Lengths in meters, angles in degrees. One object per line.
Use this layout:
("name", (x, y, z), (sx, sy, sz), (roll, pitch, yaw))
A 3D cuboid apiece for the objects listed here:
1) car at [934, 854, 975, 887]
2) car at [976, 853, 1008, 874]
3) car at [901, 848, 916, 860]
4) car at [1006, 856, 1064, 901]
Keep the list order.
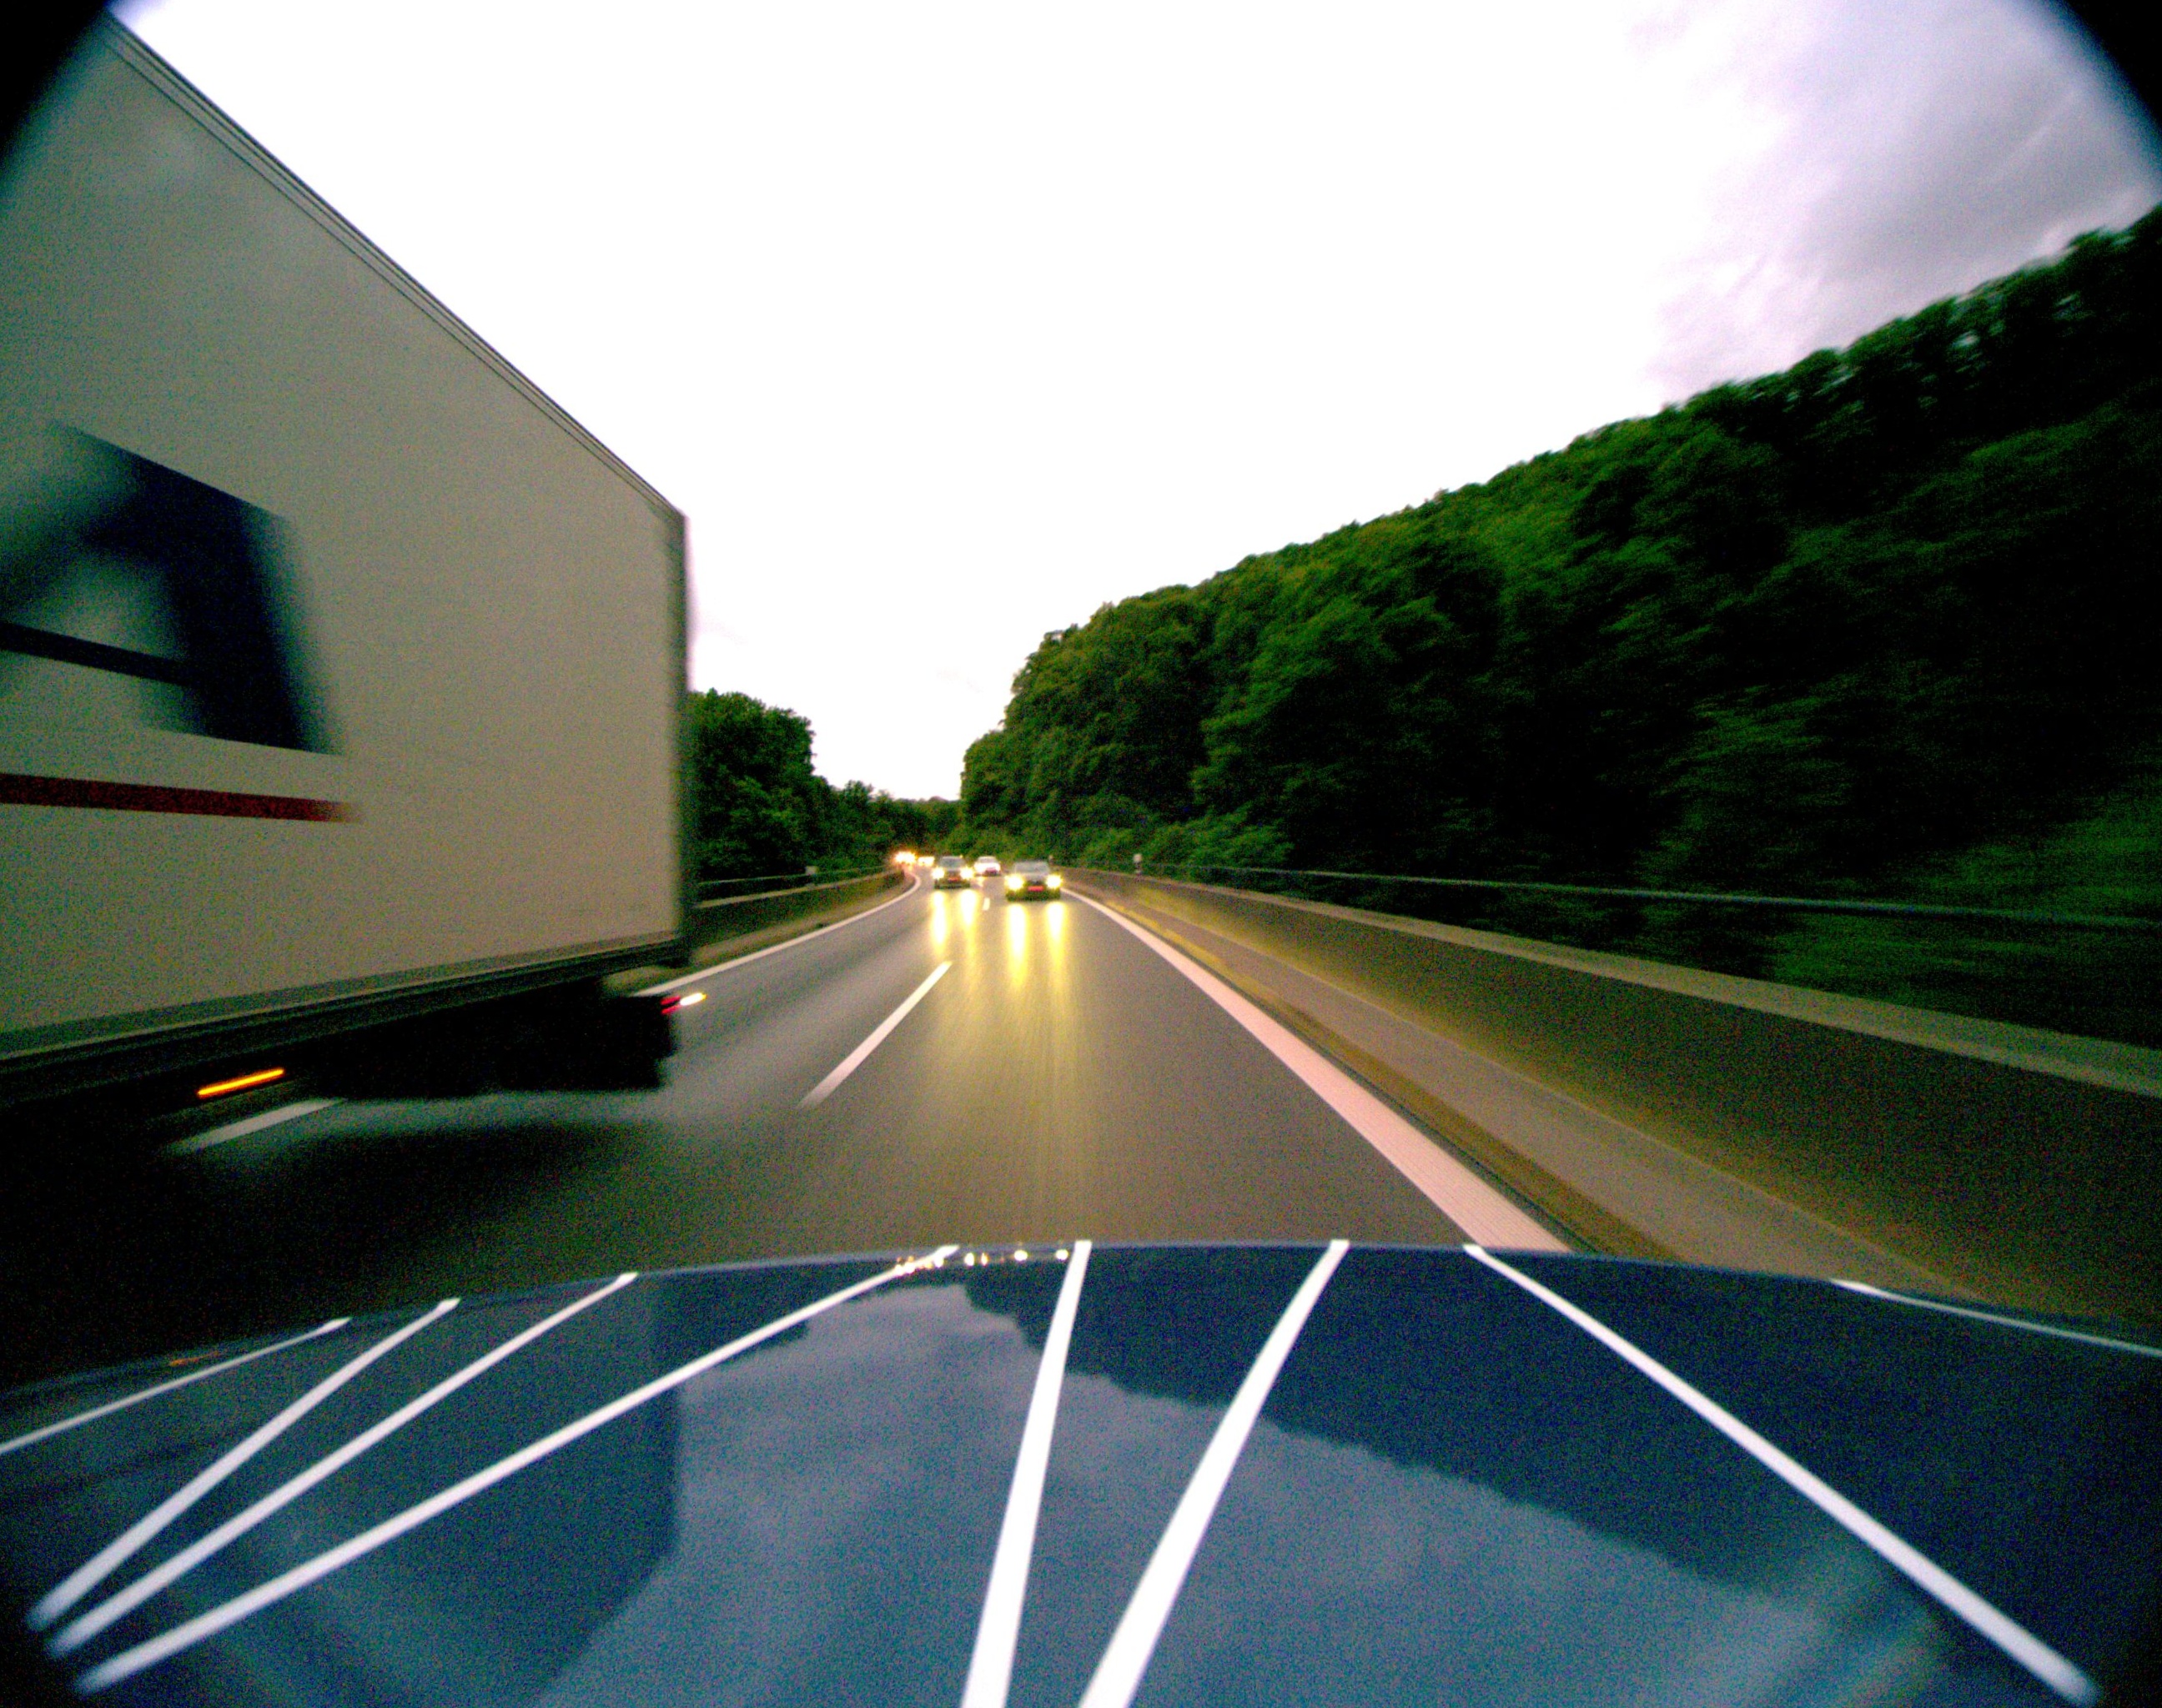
("car", (-6.810, 0.845, 40.731), (2.000, 1.630, 3.996), (-1, 0, -10))
("car", (-6.911, 0.698, 58.850), (2.001, 1.499, 3.995), (2, 0, -12))
("car", (-25.930, -0.046, 114.363), (2.001, 1.608, 3.995), (4, -1, -13))
("car", (-1.670, 0.872, 28.493), (1.999, 1.499, 3.999), (-1, 0, -2))
